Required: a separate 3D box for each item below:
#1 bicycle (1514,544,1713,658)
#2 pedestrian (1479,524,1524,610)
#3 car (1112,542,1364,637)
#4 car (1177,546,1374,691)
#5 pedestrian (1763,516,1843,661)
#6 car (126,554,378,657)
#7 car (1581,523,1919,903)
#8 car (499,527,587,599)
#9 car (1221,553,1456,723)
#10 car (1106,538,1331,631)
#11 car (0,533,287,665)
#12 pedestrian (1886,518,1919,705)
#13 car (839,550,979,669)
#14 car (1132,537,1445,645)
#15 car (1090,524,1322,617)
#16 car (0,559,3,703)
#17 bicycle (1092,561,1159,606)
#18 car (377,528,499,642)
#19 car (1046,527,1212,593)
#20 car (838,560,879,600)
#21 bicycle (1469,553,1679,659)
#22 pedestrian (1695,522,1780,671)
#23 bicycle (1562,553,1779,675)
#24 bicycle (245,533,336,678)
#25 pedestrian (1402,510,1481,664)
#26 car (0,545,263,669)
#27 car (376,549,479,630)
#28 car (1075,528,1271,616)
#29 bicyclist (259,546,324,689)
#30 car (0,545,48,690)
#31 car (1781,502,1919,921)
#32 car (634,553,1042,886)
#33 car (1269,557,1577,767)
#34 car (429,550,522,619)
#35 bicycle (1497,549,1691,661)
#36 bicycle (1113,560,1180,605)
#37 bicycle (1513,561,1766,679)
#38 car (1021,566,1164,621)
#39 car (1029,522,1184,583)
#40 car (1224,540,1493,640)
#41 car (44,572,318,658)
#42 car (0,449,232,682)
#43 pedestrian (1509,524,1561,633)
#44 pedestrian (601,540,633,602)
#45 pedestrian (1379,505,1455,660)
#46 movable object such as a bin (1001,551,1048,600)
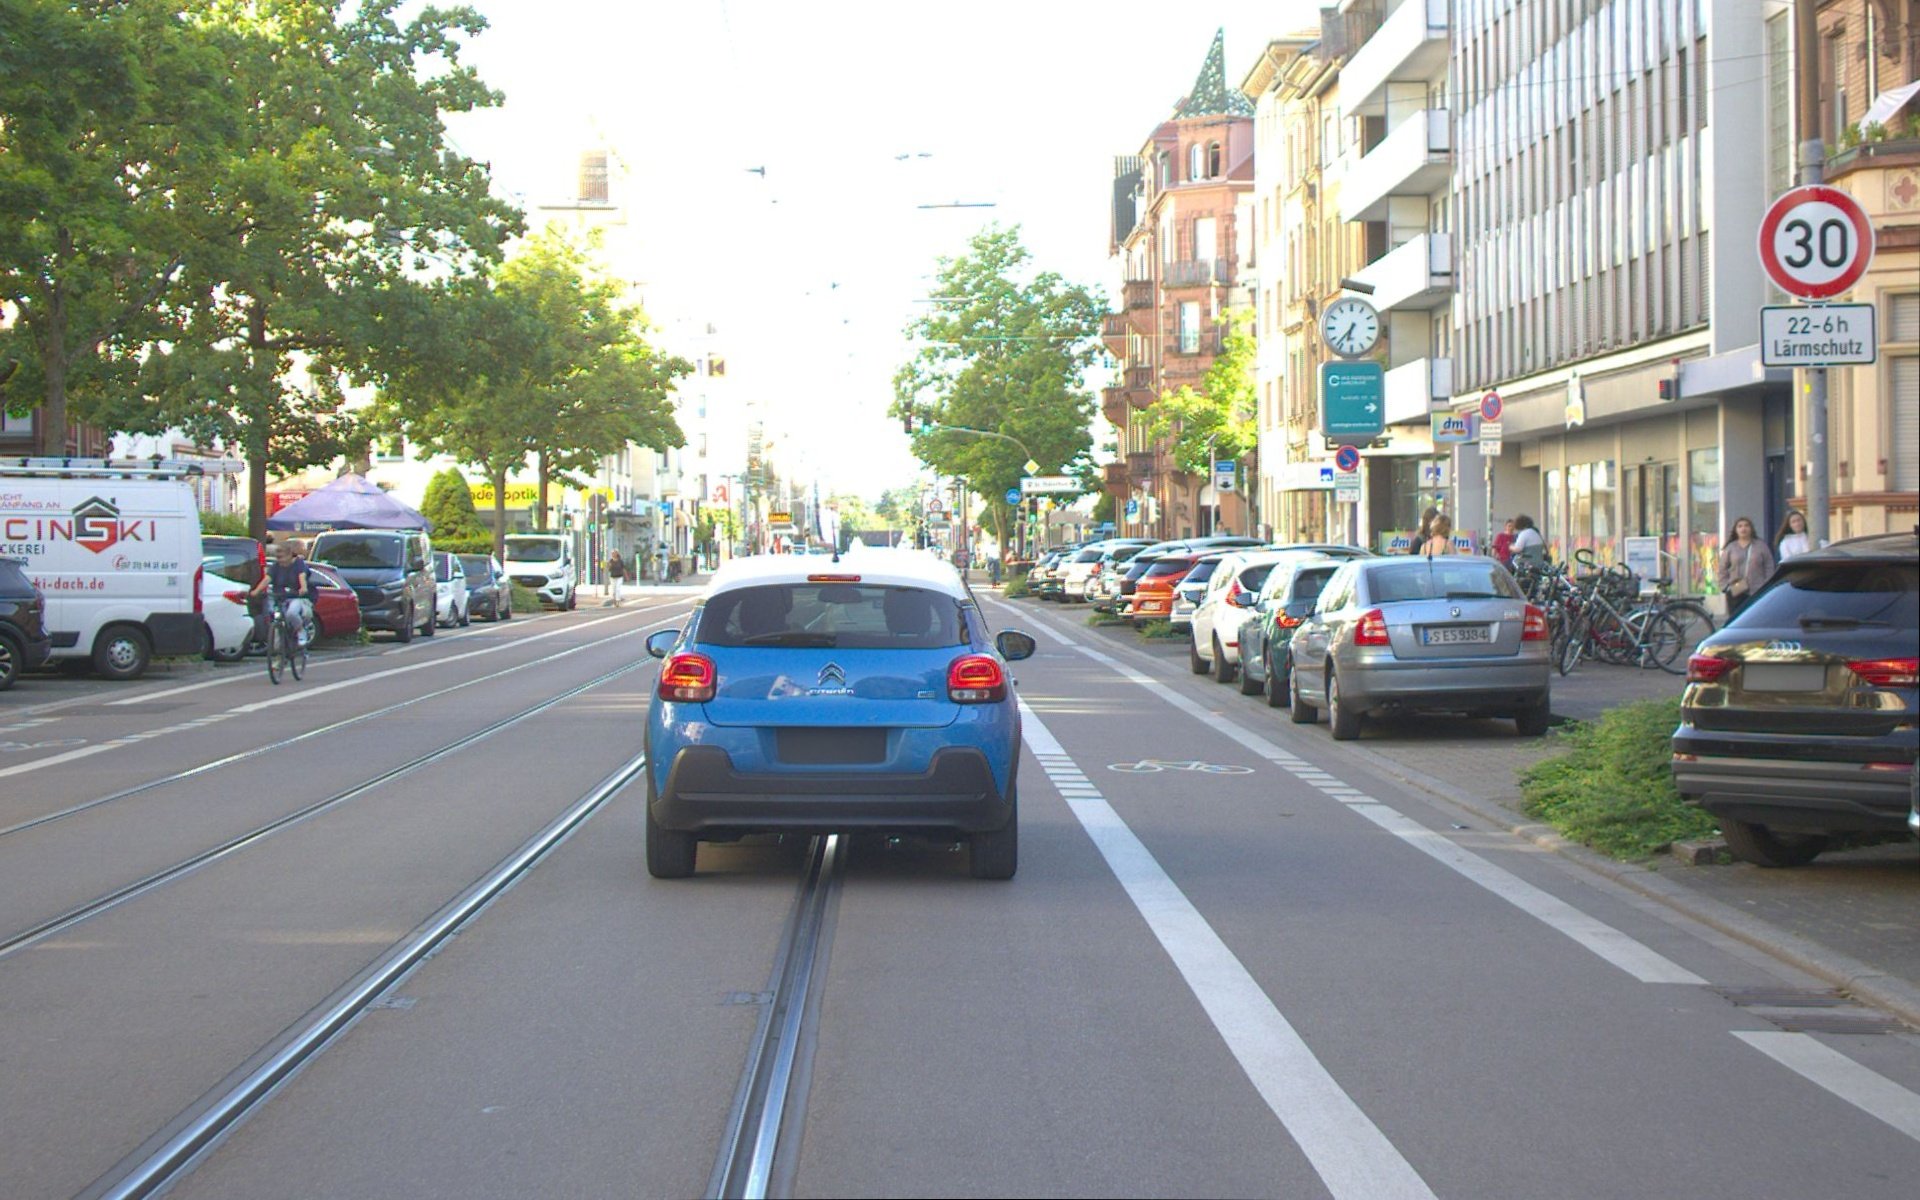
[{"bbox_3d":[7.099,0.012,37.394,2.019,1.217,0.664,0,0,-1],"label":"bicycle"},{"bbox_3d":[10.027,-0.616,63.675,0.692,1.582,0.678,0,0,-1],"label":"pedestrian"},{"bbox_3d":[4.594,-0.181,56.796,3.719,1.515,1.968,0,1,-33],"label":"car"},{"bbox_3d":[3.607,0.189,39.909,1.873,1.590,4.000,0,0,0],"label":"car"},{"bbox_3d":[9.429,-0.128,38.454,0.711,1.601,0.654,0,0,-2],"label":"pedestrian"},{"bbox_3d":[-11.438,0.090,55.519,3.722,1.617,1.789,0,0,-22],"label":"car"},{"bbox_3d":[5.256,0.466,16.356,4.303,1.590,1.982,0,0,-32],"label":"car"},{"bbox_3d":[-10.939,-0.962,90.448,1.831,1.841,4.214,0,0,-1],"label":"car"},{"bbox_3d":[3.719,0.342,34.415,1.873,1.590,4.000,0,0,0],"label":"car"},{"bbox_3d":[4.466,-0.270,59.305,3.441,1.550,1.824,0,0,-32],"label":"car"},{"bbox_3d":[-11.715,-0.021,48.645,3.986,1.810,1.713,0,0,-26],"label":"car"},{"bbox_3d":[8.468,0.095,29.749,0.711,1.601,0.654,0,0,-2],"label":"pedestrian"},{"bbox_3d":[-0.702,0.108,48.252,1.873,1.590,4.000,0,0,0],"label":"car"},{"bbox_3d":[4.775,-0.131,49.778,4.439,1.503,1.536,0,0,-30],"label":"car"},{"bbox_3d":[4.478,-0.534,62.473,3.719,1.646,2.047,0,1,-33],"label":"car"},{"bbox_3d":[-12.002,0.299,35.595,3.986,1.484,1.807,0,0,-17],"label":"car"},{"bbox_3d":[3.891,-0.397,80.947,0.553,1.044,1.807,0,0,-36],"label":"bicycle"},{"bbox_3d":[-9.424,-0.284,62.400,1.747,1.967,5.241,0,0,-4],"label":"car"},{"bbox_3d":[4.174,-0.983,85.002,3.653,1.568,1.861,0,0,-29],"label":"car"},{"bbox_3d":[-3.716,-0.749,125.784,1.423,1.427,3.139,0,0,0],"label":"car"},{"bbox_3d":[7.220,0.065,40.486,2.358,1.217,0.664,0,0,3],"label":"bicycle"},{"bbox_3d":[8.646,-0.042,38.262,0.712,1.601,0.654,-3,0,-1],"label":"pedestrian"},{"bbox_3d":[7.200,0.138,34.880,2.056,1.217,0.664,0,0,-2],"label":"bicycle"},{"bbox_3d":[-7.917,0.055,40.723,0.680,1.673,2.097,0,0,-1],"label":"bicycle"},{"bbox_3d":[5.046,-0.137,36.055,0.711,1.601,0.654,0,0,-2],"label":"pedestrian"},{"bbox_3d":[-11.913,0.084,46.035,4.756,1.612,1.712,0,0,-33],"label":"car"},{"bbox_3d":[-11.034,-0.231,71.494,1.747,1.612,4.411,0,0,-4],"label":"car"},{"bbox_3d":[4.064,-0.533,65.355,3.442,1.634,1.684,0,1,-37],"label":"car"},{"bbox_3d":[-7.929,0.202,40.785,0.634,1.676,0.727,0,0,-1],"label":"bicyclist"},{"bbox_3d":[-12.336,0.183,38.202,3.986,1.612,1.713,0,0,-26],"label":"car"},{"bbox_3d":[5.546,0.431,13.692,3.986,1.590,2.088,0,0,-25],"label":"car"},{"bbox_3d":[-0.568,0.504,16.708,1.762,1.436,3.557,0,0,-1],"label":"car"},{"bbox_3d":[3.748,0.456,28.590,1.873,1.590,4.719,0,0,0],"label":"car"},{"bbox_3d":[-10.776,-0.350,76.649,1.747,1.482,4.043,0,0,-4],"label":"car"},{"bbox_3d":[7.054,0.054,38.308,2.019,1.217,0.664,0,0,-1],"label":"bicycle"},{"bbox_3d":[4.414,-0.411,81.307,0.553,1.044,1.807,0,0,-36],"label":"bicycle"},{"bbox_3d":[7.183,0.209,36.387,2.538,1.217,0.664,0,0,-1],"label":"bicycle"},{"bbox_3d":[3.762,-0.178,97.673,3.653,1.529,1.789,0,0,-20],"label":"car"},{"bbox_3d":[3.867,-1.263,91.089,3.653,1.568,1.861,0,0,-20],"label":"car"},{"bbox_3d":[6.158,-0.158,53.070,3.774,1.482,1.838,0,0,-30],"label":"car"},{"bbox_3d":[-11.786,0.224,52.066,3.796,1.261,1.516,0,0,-26],"label":"car"},{"bbox_3d":[-11.630,-0.415,41.193,5.370,2.739,1.806,0,0,-30],"label":"car"},{"bbox_3d":[9.303,-0.348,55.638,0.692,1.750,0.678,0,0,-1],"label":"pedestrian"},{"bbox_3d":[-9.577,-0.810,96.012,0.729,1.720,0.628,0,0,-25],"label":"pedestrian"},{"bbox_3d":[4.956,-0.188,37.324,0.711,1.666,0.654,0,0,-2],"label":"pedestrian"},{"bbox_3d":[1.988,-0.761,106.940,1.394,1.478,1.655,0,0,-1],"label":"movable object such as a bin"}]
